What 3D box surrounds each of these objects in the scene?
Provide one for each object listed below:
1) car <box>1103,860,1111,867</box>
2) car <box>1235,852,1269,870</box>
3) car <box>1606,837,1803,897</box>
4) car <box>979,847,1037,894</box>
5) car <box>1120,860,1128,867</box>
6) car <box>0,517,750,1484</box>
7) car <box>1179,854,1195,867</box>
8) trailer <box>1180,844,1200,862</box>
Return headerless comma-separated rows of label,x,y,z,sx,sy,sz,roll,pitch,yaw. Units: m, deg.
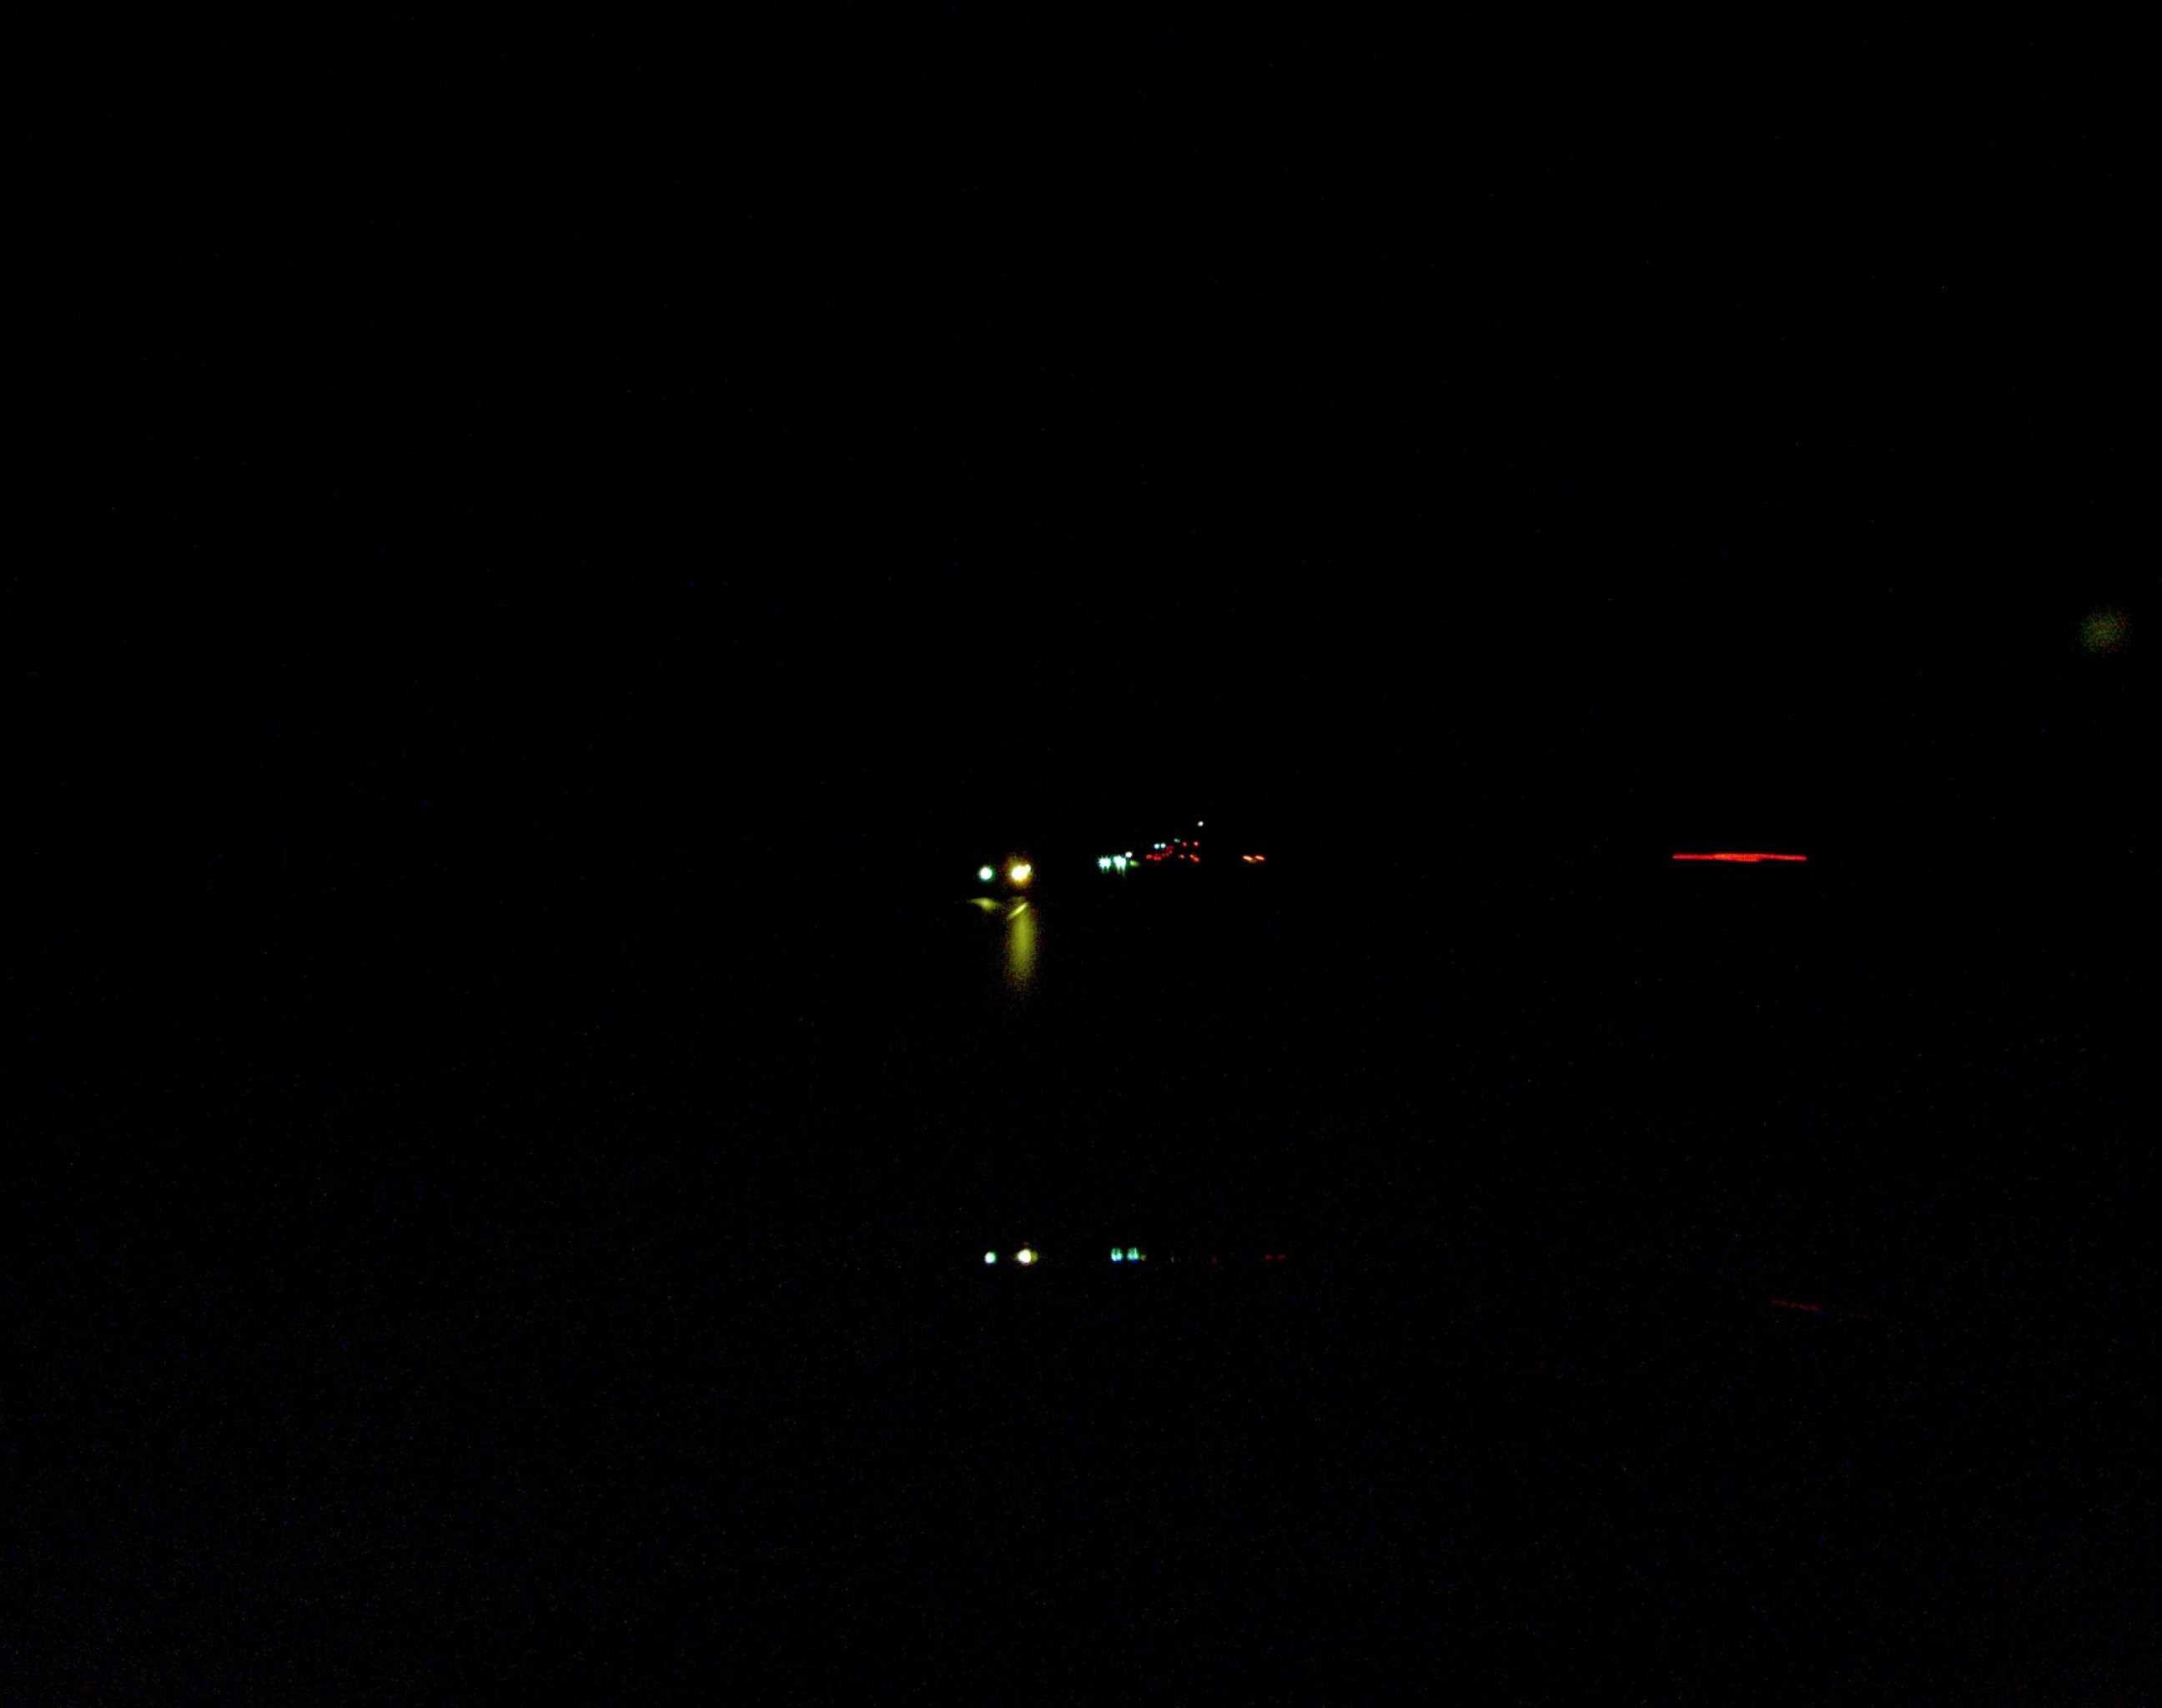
car,7.120,2.571,205.183,1.998,1.762,3.999,-2,1,0
car,16.966,0.662,75.825,2.250,1.658,4.890,-2,0,0
car,19.598,0.369,24.279,2.250,1.658,4.887,-2,0,0
car,-3.325,0.712,35.878,2.121,1.989,5.663,-2,0,0
car,13.132,2.880,232.634,1.998,1.734,3.999,-2,1,0
car,-3.917,0.413,3.478,2.037,2.631,5.725,-2,0,2
car,18.721,1.116,134.757,2.249,2.089,5.715,-1,0,2
trailer,24.603,-0.168,171.481,2.861,3.957,13.888,-2,0,2
